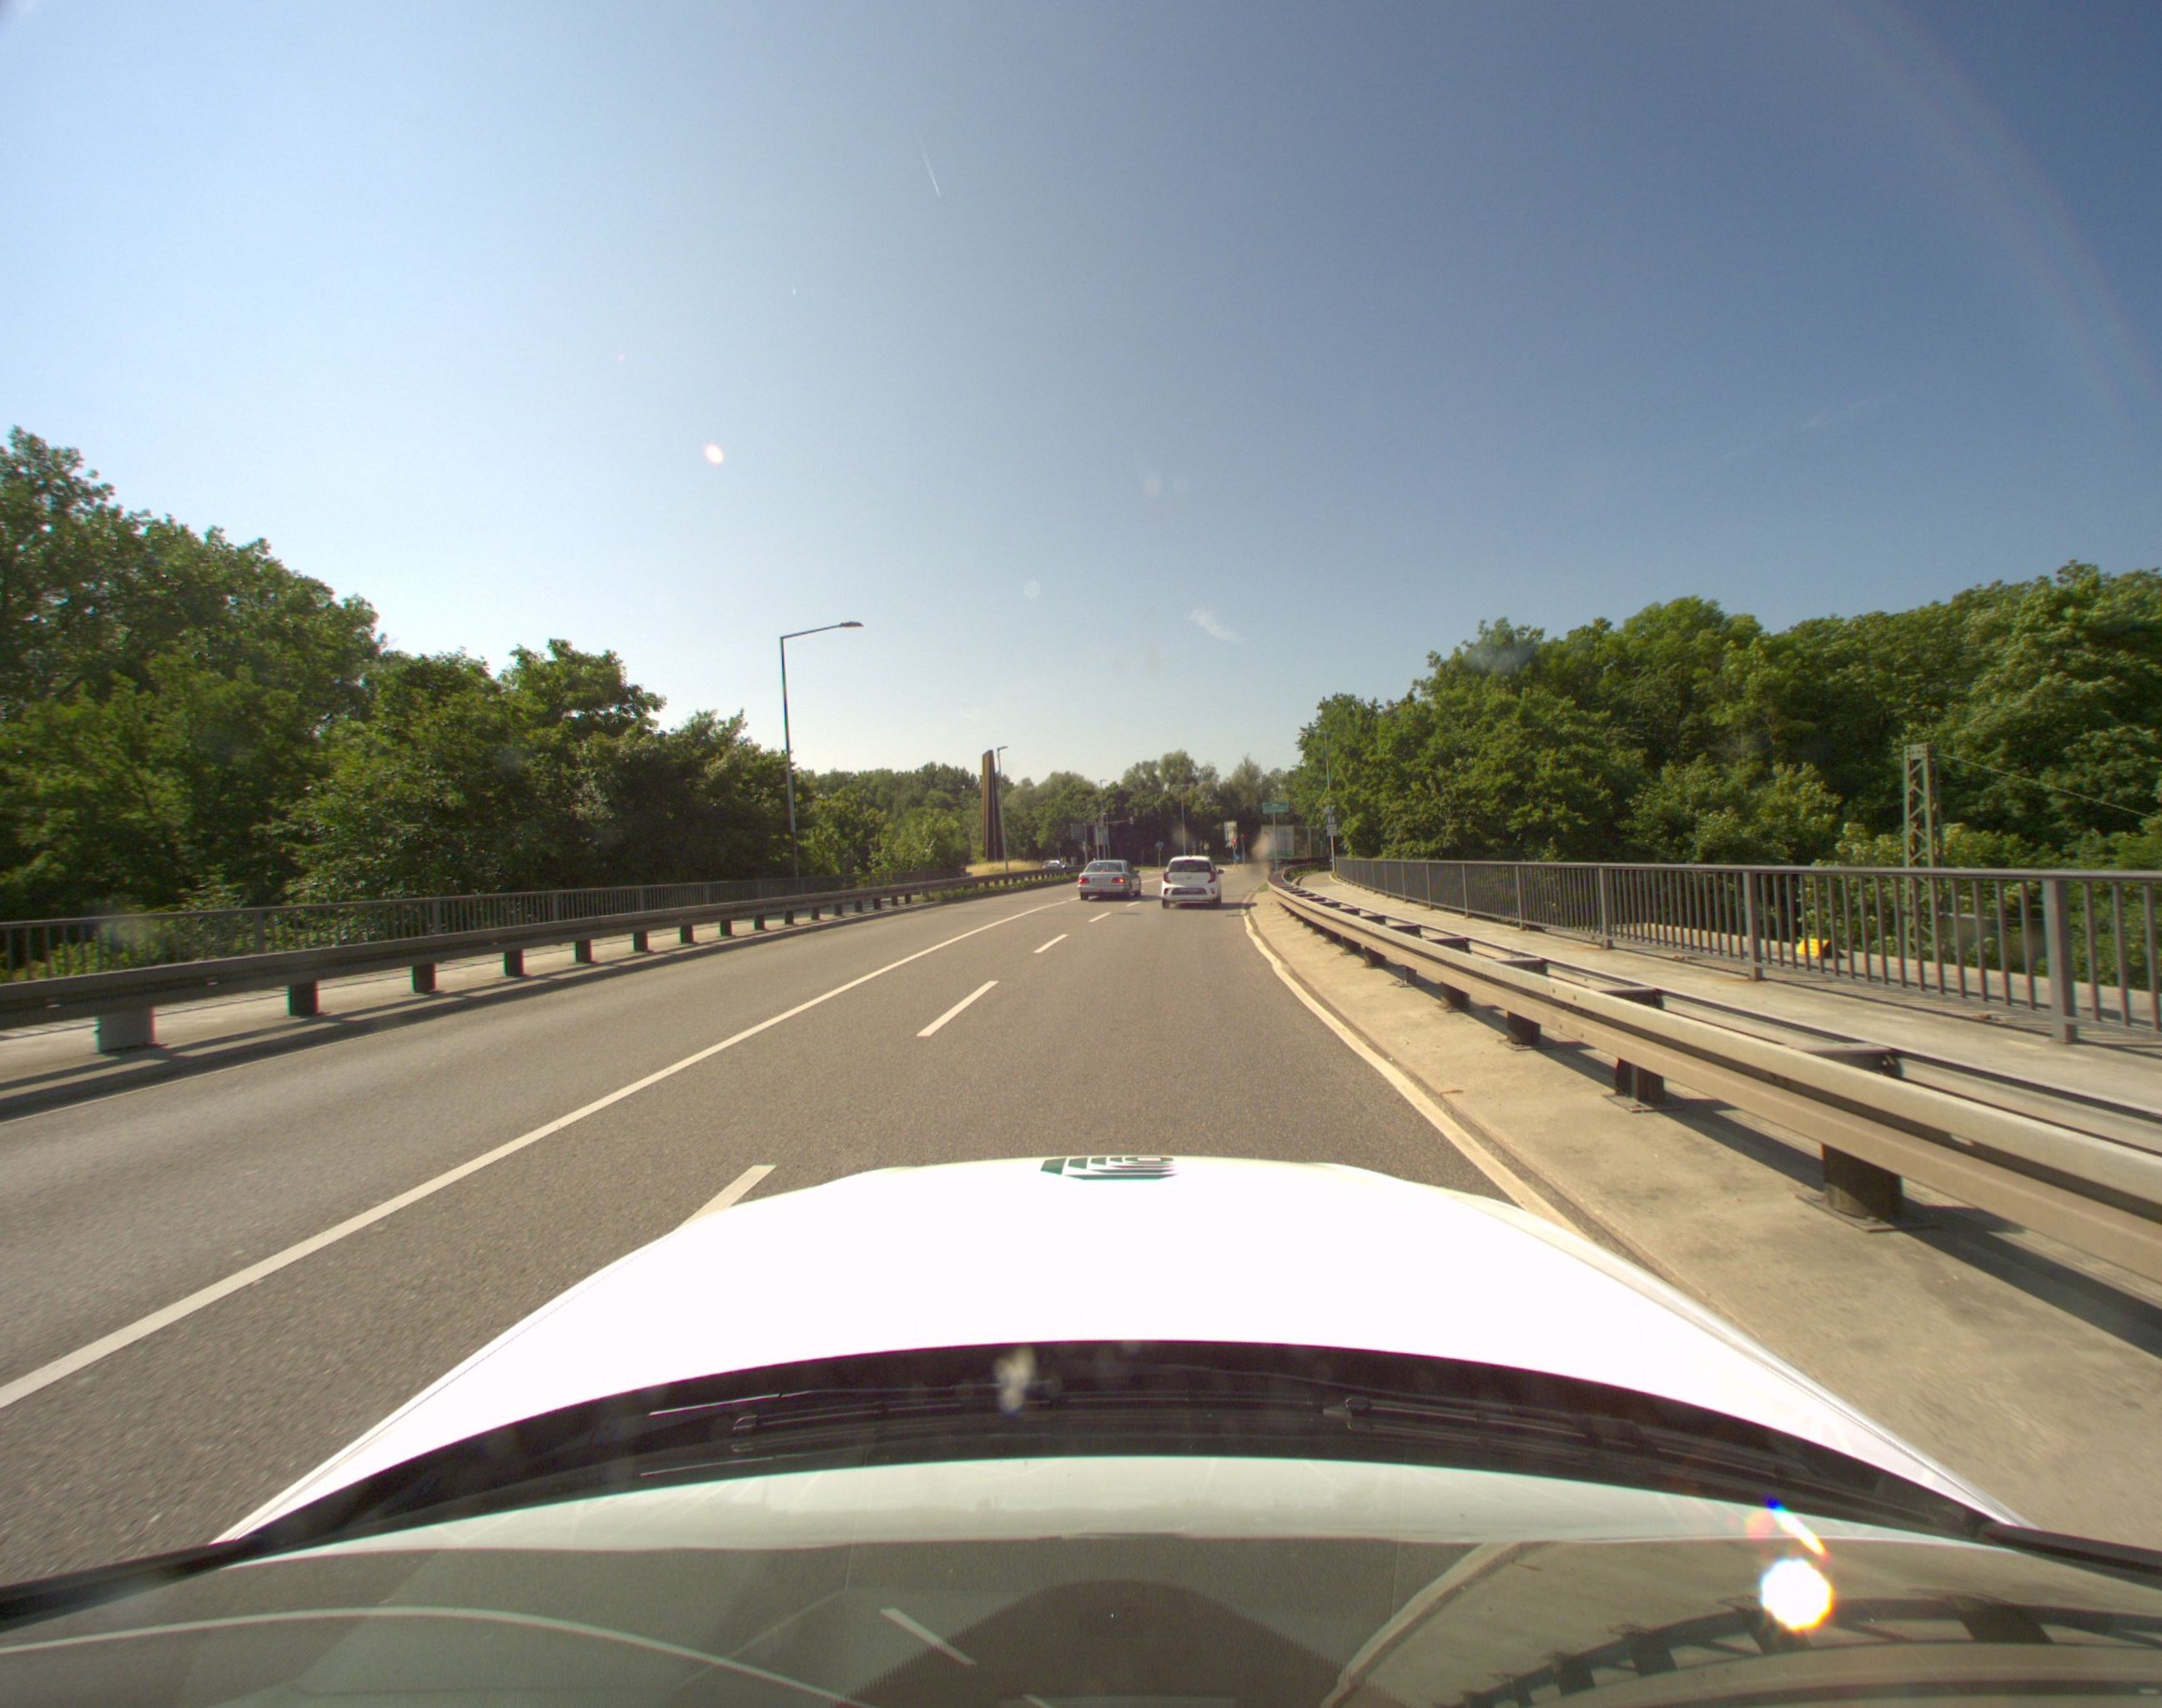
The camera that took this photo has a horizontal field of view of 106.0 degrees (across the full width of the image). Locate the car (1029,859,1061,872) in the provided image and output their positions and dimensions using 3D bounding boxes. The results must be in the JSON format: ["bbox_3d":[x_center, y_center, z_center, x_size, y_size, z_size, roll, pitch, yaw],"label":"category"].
[{"bbox_3d":[-4.663,1.489,104.746,3.949,1.389,1.778,-7,-6,44],"label":"car"}]

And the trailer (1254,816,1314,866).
[{"bbox_3d":[16.488,-1.013,65.762,3.195,3.758,7.870,1,0,25],"label":"trailer"}]

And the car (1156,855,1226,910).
[{"bbox_3d":[3.382,0.800,24.417,1.690,1.494,4.014,0,0,13],"label":"car"}]

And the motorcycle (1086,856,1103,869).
[{"bbox_3d":[1.653,1.070,101.002,1.957,1.529,0.905,-6,-5,42],"label":"motorcycle"}]

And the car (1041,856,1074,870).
[{"bbox_3d":[-2.904,1.064,98.700,3.949,1.389,1.712,-7,-6,44],"label":"car"}]

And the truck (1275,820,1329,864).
[{"bbox_3d":[19.943,-1.029,73.061,3.231,3.758,8.419,1,0,25],"label":"truck"}]

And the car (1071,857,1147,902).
[{"bbox_3d":[1.127,0.869,29.729,1.926,1.486,4.916,-1,0,12],"label":"car"}]

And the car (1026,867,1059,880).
[{"bbox_3d":[-5.057,2.557,106.008,3.949,1.389,2.136,-7,-6,44],"label":"car"}]

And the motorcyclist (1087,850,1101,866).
[{"bbox_3d":[1.601,0.488,101.052,1.445,1.870,0.898,-2,-2,42],"label":"motorcyclist"}]
